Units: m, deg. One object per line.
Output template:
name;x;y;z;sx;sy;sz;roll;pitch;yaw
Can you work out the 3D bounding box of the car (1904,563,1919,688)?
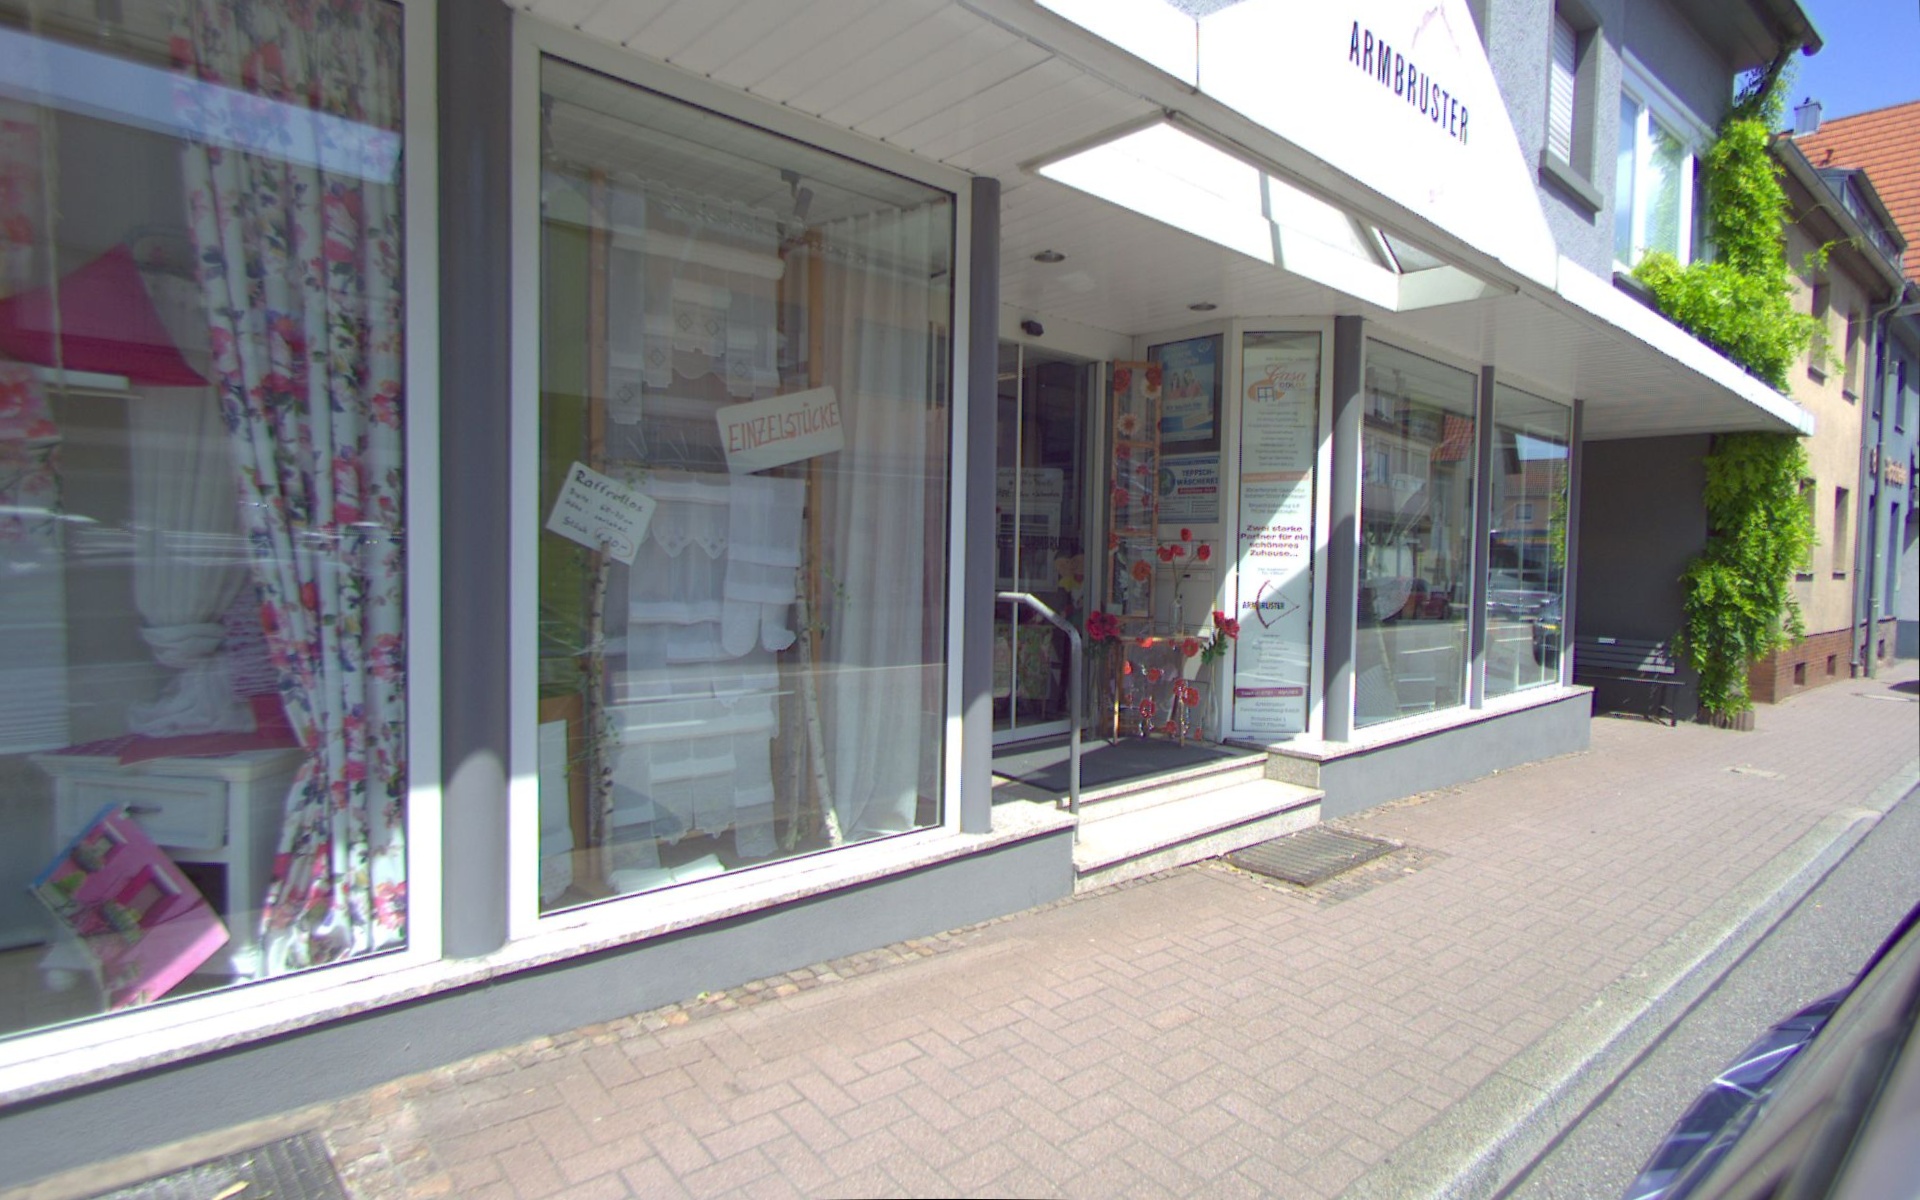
car;15.469;0.408;14.562;4.025;1.729;2.001;-1;5;-37
